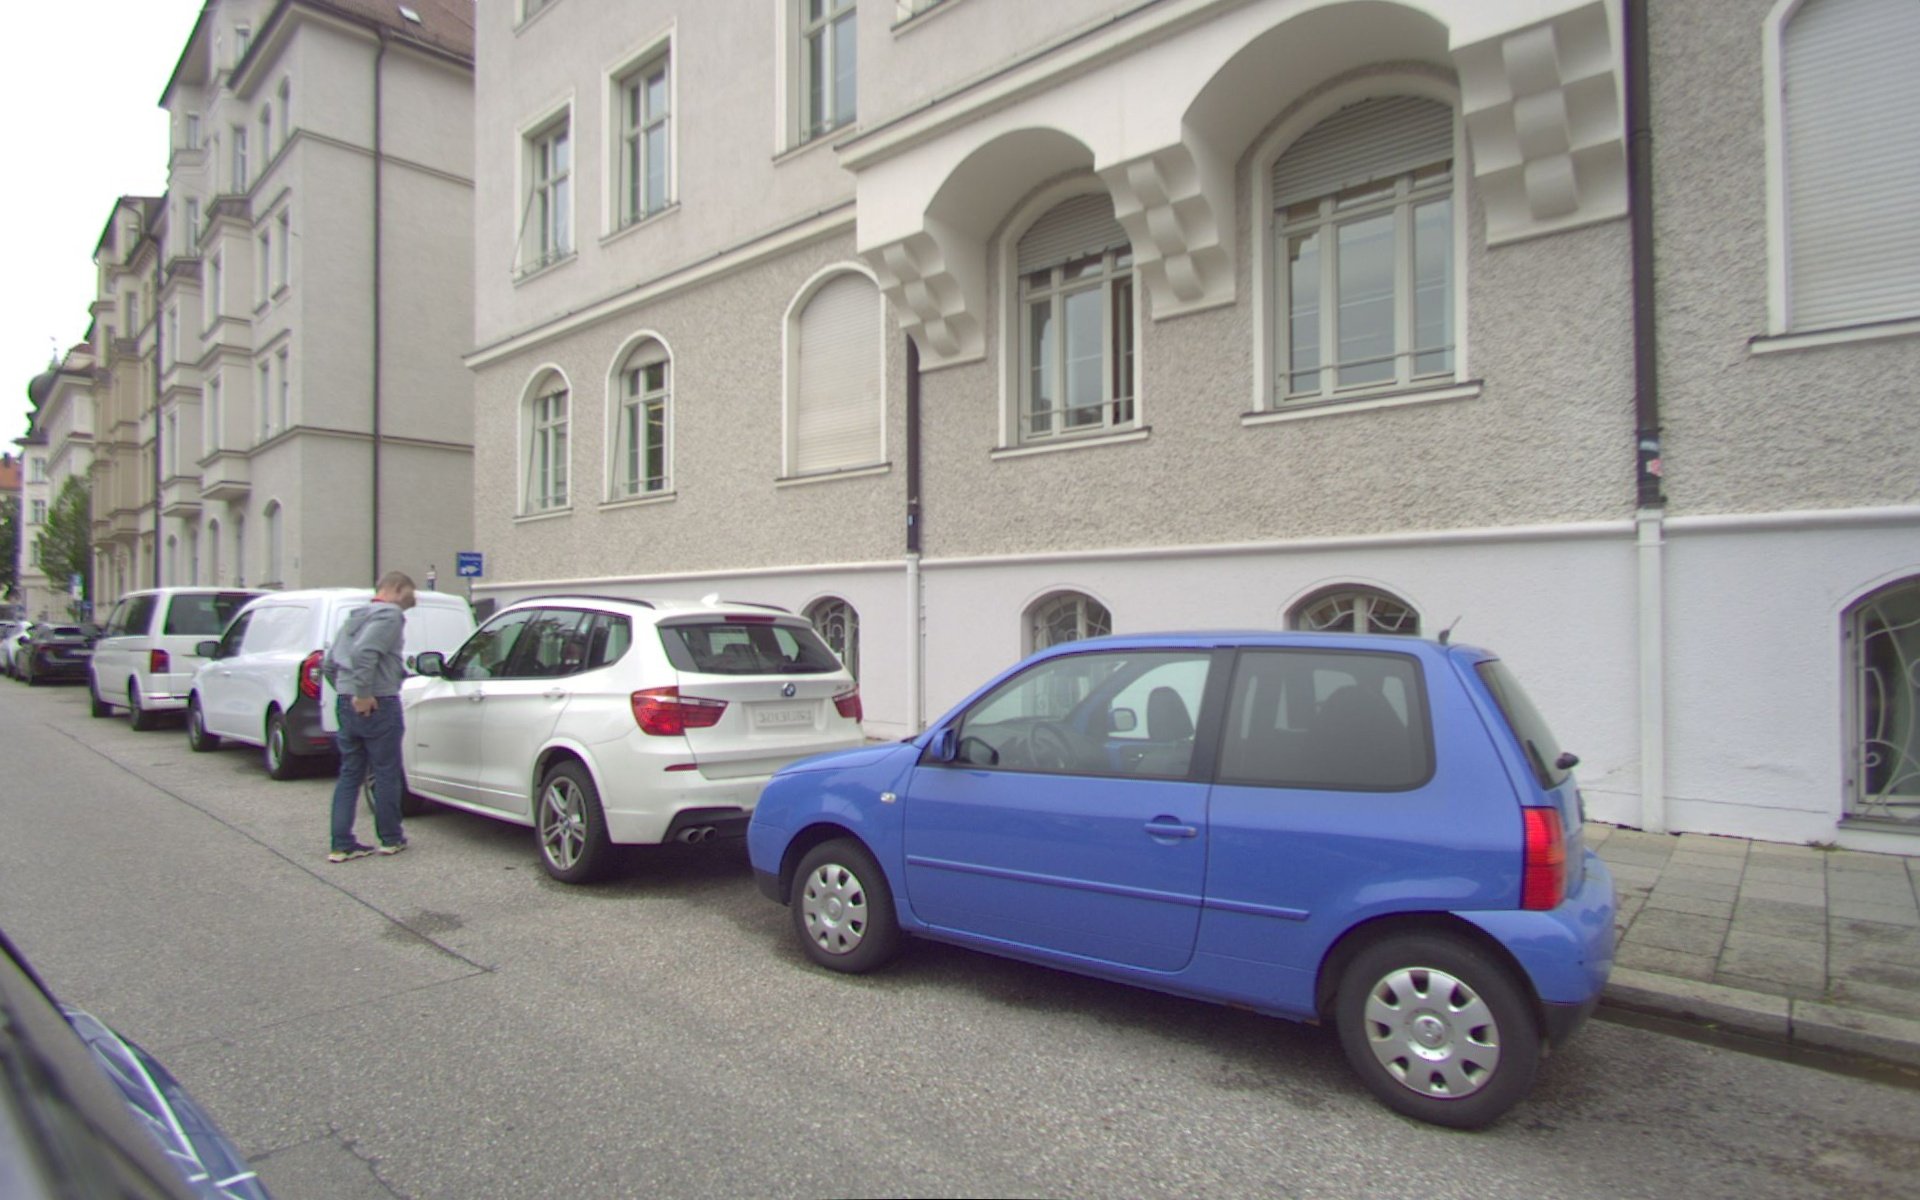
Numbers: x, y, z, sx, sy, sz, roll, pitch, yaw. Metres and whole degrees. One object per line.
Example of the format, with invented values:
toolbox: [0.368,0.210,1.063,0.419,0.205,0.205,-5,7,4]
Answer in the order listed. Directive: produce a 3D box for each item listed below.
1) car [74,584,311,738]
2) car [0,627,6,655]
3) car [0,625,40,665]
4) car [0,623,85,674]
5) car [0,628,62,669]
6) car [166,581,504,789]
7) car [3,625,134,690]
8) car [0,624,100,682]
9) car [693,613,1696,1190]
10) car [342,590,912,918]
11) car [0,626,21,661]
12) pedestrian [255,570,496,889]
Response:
car: [-11.621,0.838,15.183,4.955,1.953,1.836,-1,-3,41]
car: [-50.783,2.117,52.457,3.688,1.440,1.606,-1,-3,42]
car: [-36.172,1.671,38.387,3.942,1.467,1.604,-1,-3,44]
car: [-28.374,1.456,31.150,3.938,1.475,1.785,-1,-3,44]
car: [-32.528,1.647,35.071,3.731,1.373,1.785,-1,-3,44]
car: [-7.014,0.803,11.093,5.034,1.802,1.728,-1,-3,41]
car: [-21.527,1.343,24.380,4.378,1.423,1.836,-1,-3,42]
car: [-25.232,1.418,27.823,4.378,1.475,1.836,-1,-3,42]
car: [0.772,0.796,4.256,3.653,1.425,1.678,-1,-2,34]
car: [-2.565,0.820,7.139,4.493,1.614,1.729,-1,-3,40]
car: [-40.360,1.793,42.185,1.604,1.440,3.943,2,-3,-45]
pedestrian: [-3.561,0.729,6.231,0.869,1.769,0.958,-1,-1,19]
